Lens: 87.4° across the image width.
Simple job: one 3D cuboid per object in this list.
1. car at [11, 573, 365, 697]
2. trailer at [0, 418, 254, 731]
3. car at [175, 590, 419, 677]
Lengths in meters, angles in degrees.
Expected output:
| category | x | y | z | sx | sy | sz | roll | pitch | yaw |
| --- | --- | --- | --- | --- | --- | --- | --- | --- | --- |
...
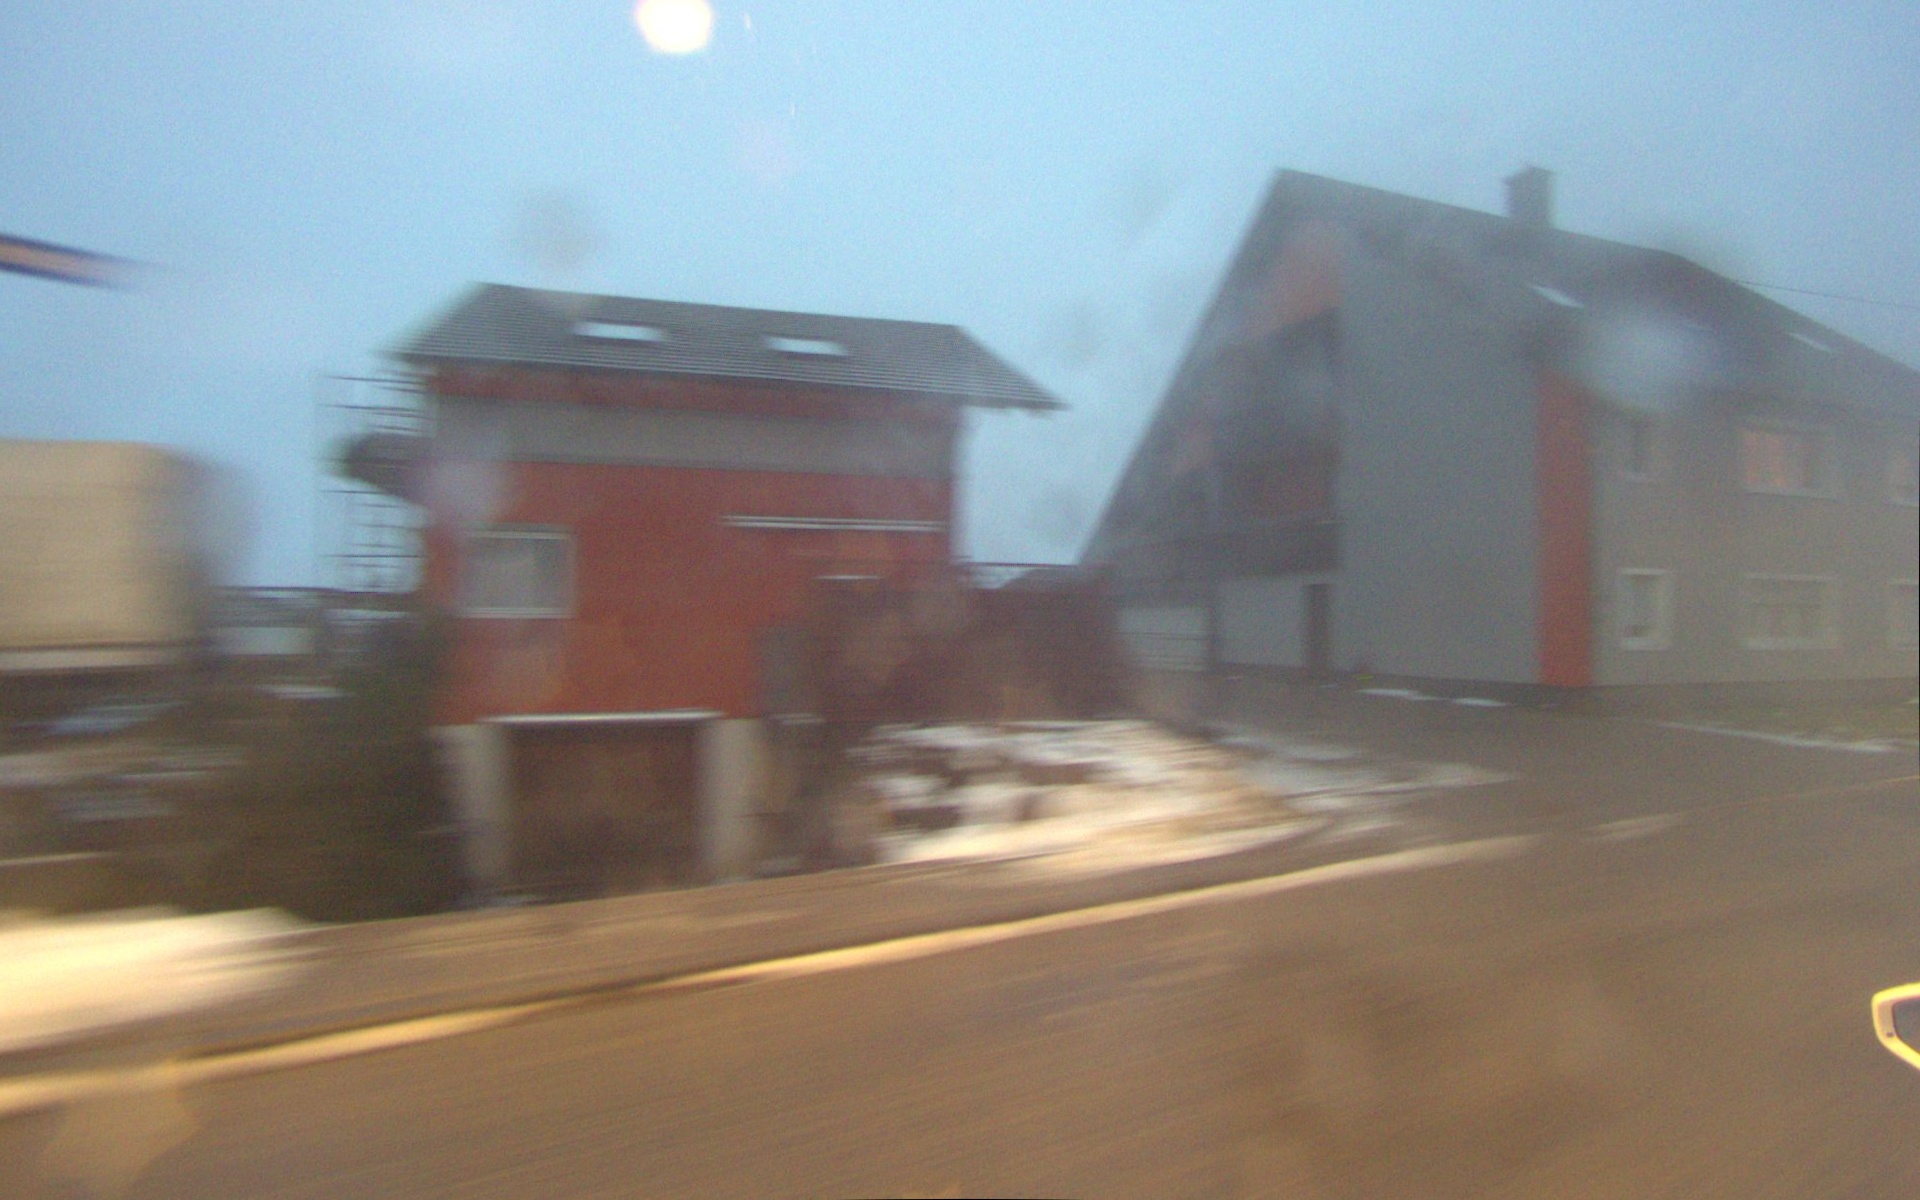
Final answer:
| category | x | y | z | sx | sy | sz | roll | pitch | yaw |
| --- | --- | --- | --- | --- | --- | --- | --- | --- | --- |
| car | -11.828 | 0.526 | 15.759 | 3.938 | 1.739 | 1.992 | 0 | -2 | -20 |
| trailer | -8.790 | -0.160 | 8.729 | 3.951 | 2.522 | 1.991 | 0 | -2 | -22 |
| car | -13.712 | 0.687 | 21.088 | 3.943 | 1.683 | 1.990 | 0 | -2 | -23 |
